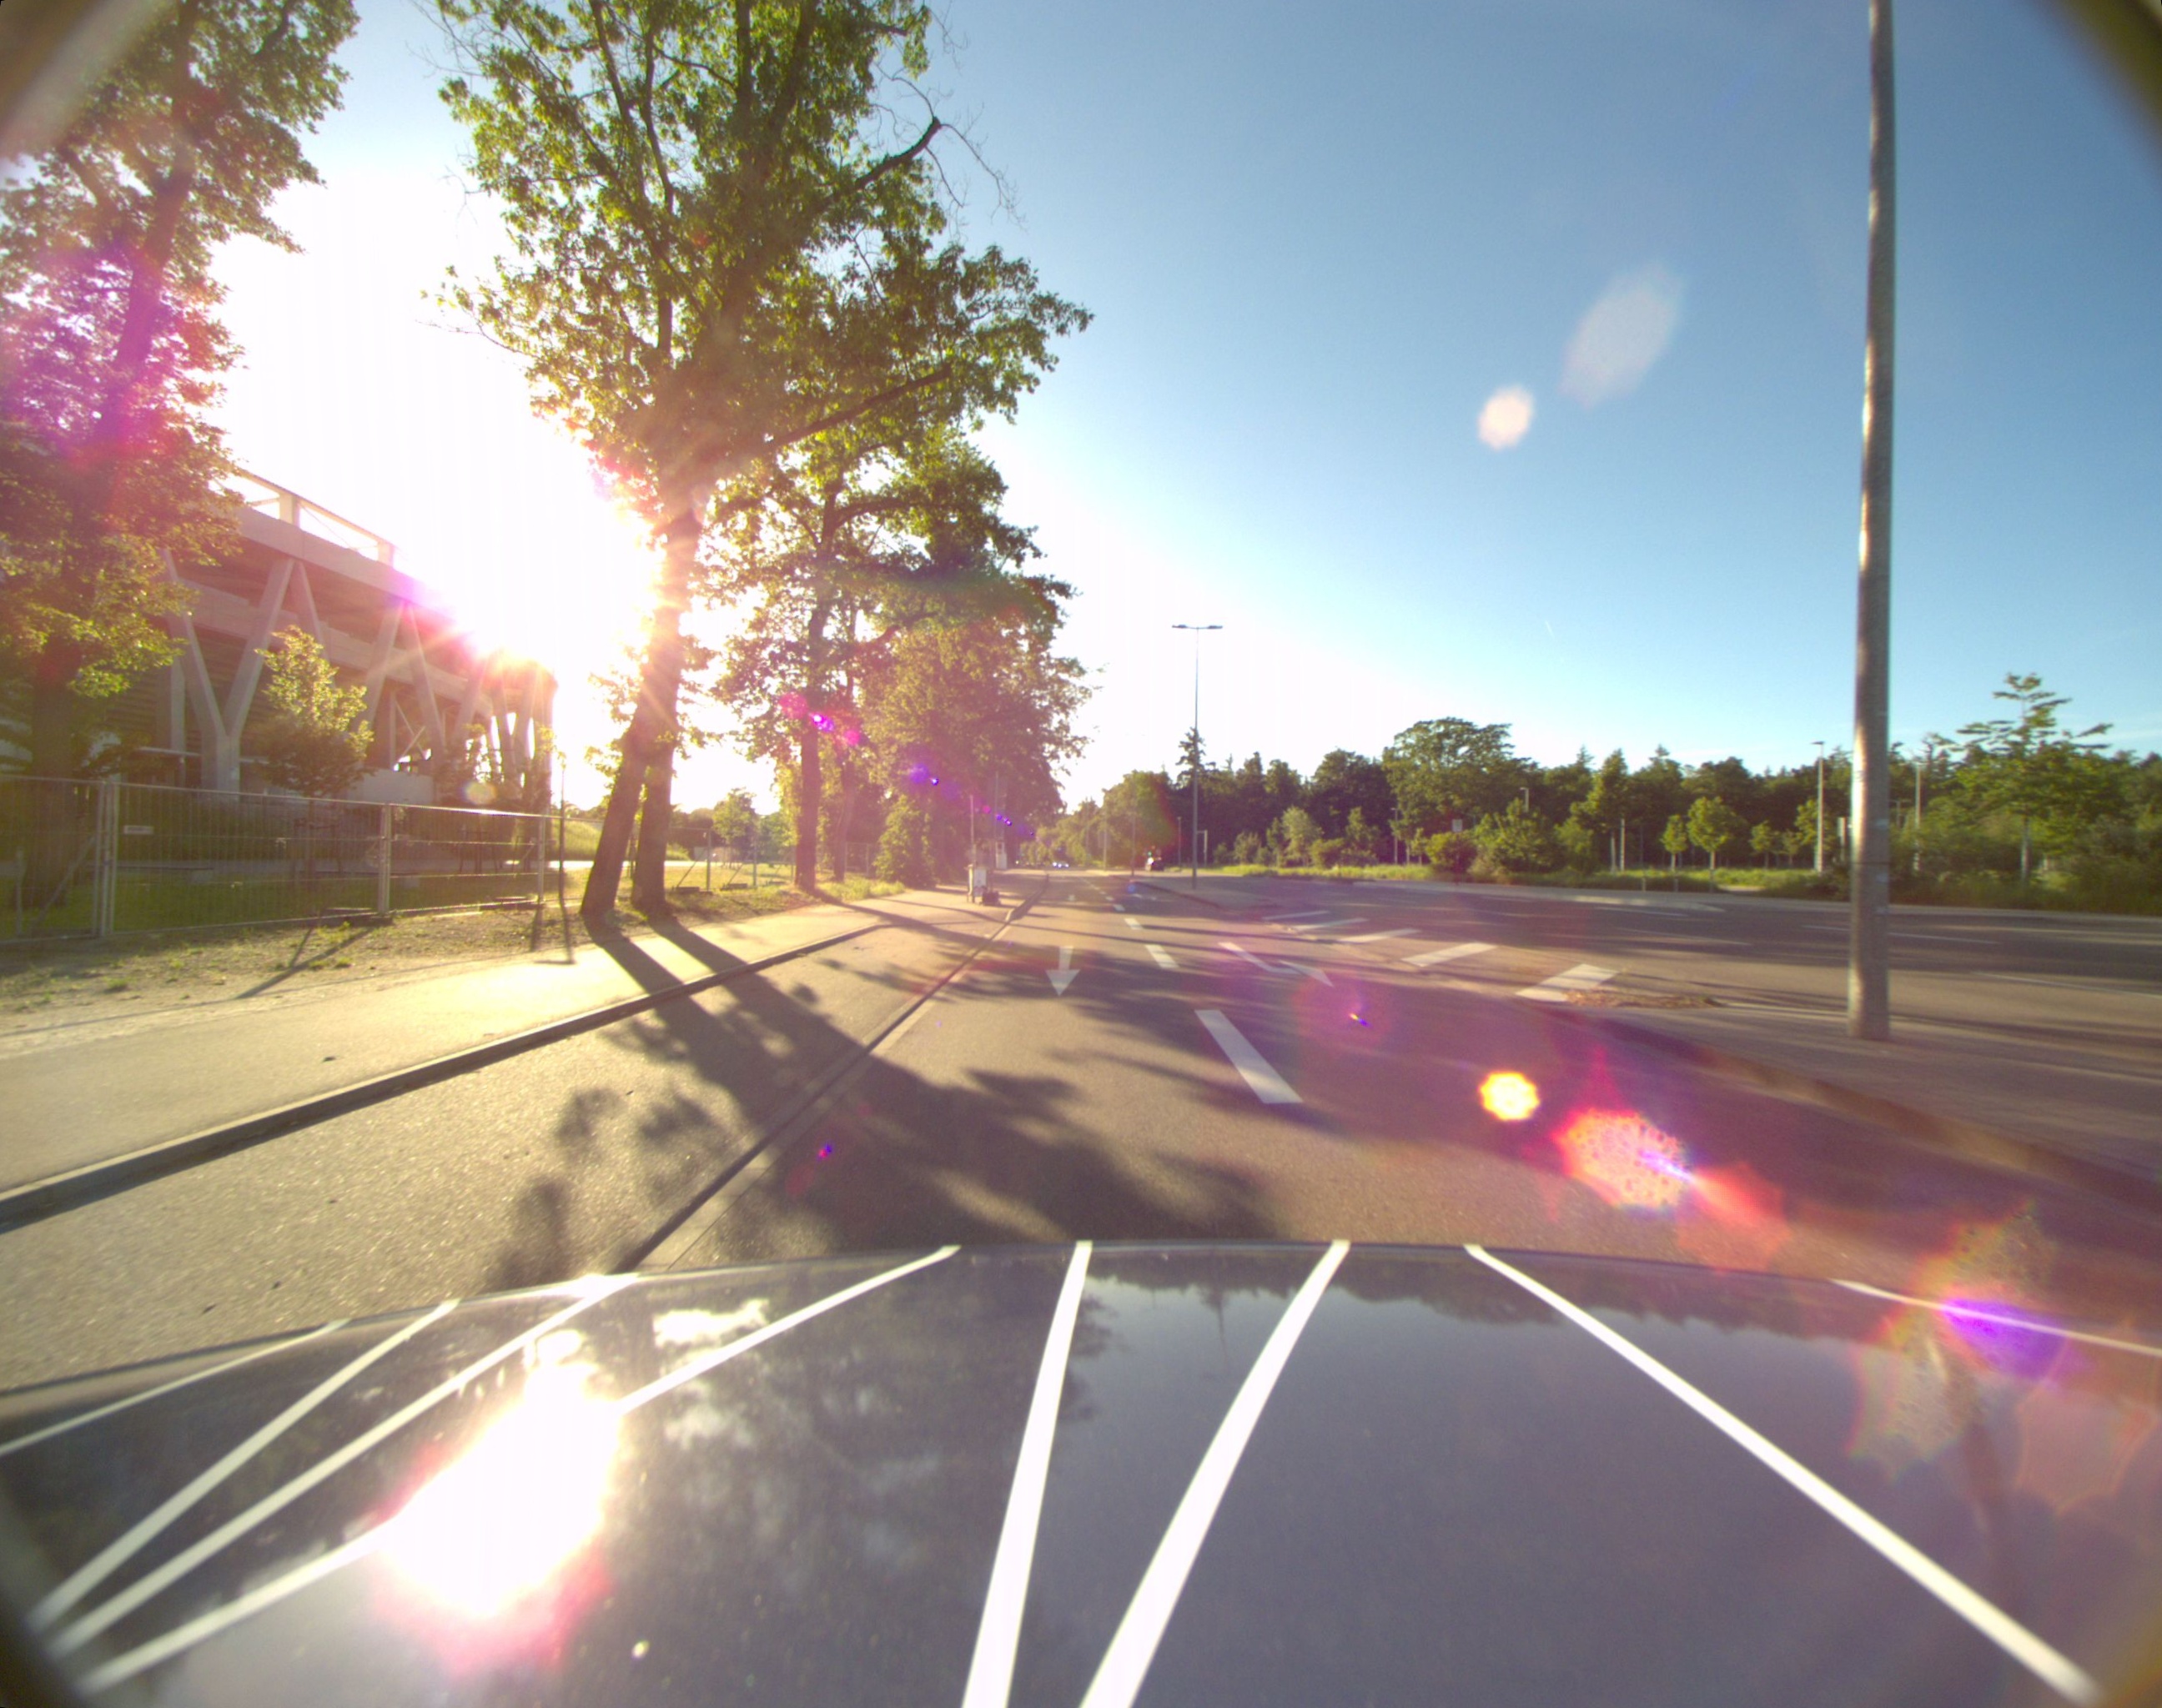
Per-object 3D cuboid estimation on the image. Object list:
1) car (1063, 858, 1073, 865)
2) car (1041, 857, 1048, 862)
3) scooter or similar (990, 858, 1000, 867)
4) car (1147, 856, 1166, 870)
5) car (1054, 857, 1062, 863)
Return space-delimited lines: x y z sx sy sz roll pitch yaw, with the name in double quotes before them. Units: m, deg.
"car" -2.727 1.627 158.275 1.841 1.394 3.999 -1 0 -3
"car" -10.950 1.781 229.509 1.842 1.395 4.989 1 0 -5
"scooter or similar" -12.116 1.157 107.025 1.303 1.230 0.334 1 0 -37
"car" 9.608 1.166 97.006 1.788 1.682 4.702 -1 0 -2
"car" -5.693 1.480 188.708 1.841 1.394 4.991 -1 0 -2
